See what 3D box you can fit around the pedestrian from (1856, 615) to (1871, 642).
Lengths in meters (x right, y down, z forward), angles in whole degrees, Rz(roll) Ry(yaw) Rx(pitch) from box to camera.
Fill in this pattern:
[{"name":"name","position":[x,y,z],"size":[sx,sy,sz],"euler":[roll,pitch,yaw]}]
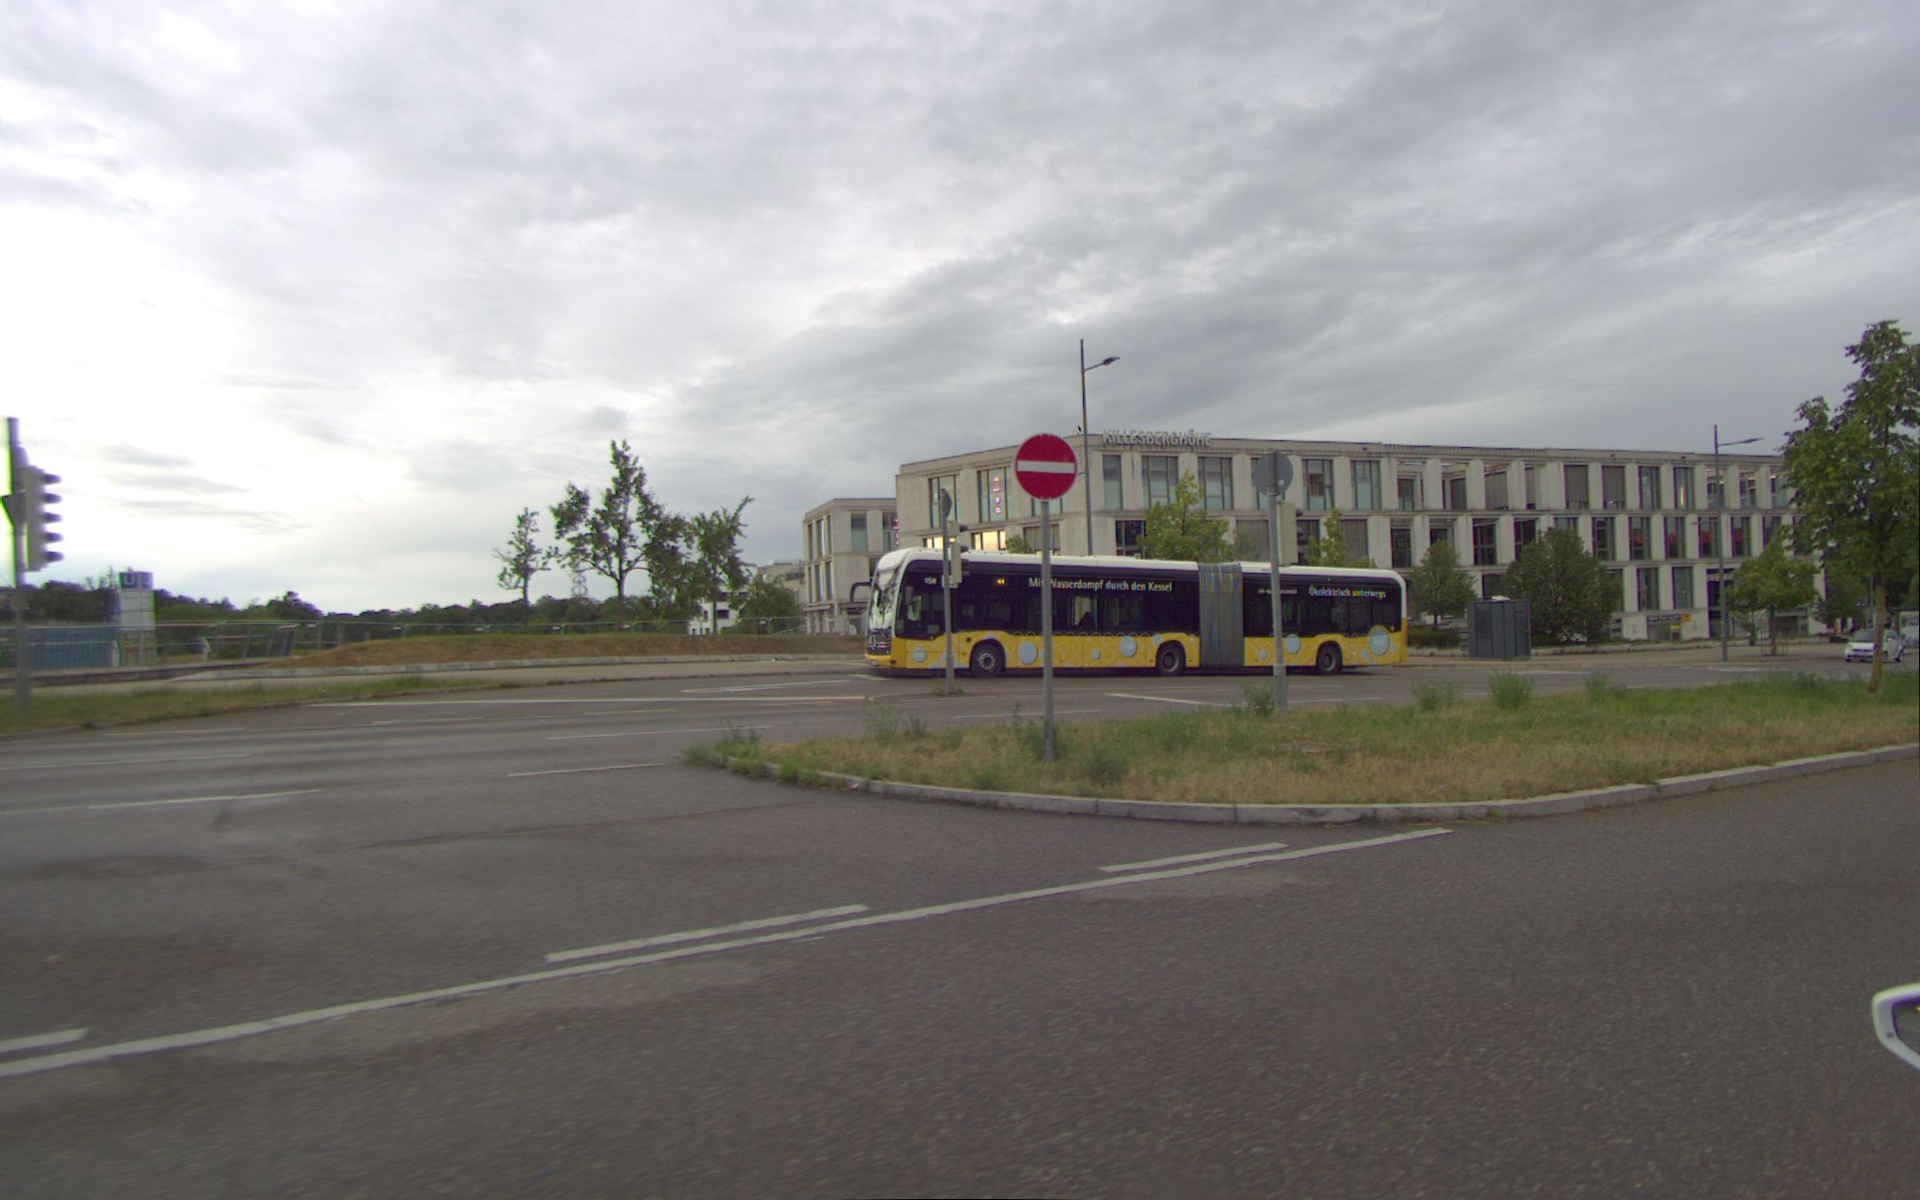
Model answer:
[{"name":"pedestrian","position":[60.702,1.914,67.477],"size":[0.559,1.748,0.522],"euler":[0,-1,-28]}]

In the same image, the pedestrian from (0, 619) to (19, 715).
[{"name":"pedestrian","position":[-16.724,1.156,17.127],"size":[0.806,1.615,0.673],"euler":[-2,0,21]}]

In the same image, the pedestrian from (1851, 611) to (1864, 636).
[{"name":"pedestrian","position":[61.844,1.617,69.209],"size":[0.613,1.748,0.424],"euler":[0,-1,-30]}]

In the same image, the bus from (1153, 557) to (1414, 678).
[{"name":"bus","position":[10.416,0.594,32.182],"size":[8.114,3.518,2.815],"euler":[1,-1,-23]}]

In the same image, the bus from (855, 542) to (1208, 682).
[{"name":"bus","position":[2.149,0.413,28.623],"size":[9.832,3.518,2.815],"euler":[1,-1,-23]}]

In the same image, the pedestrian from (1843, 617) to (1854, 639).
[{"name":"pedestrian","position":[60.898,1.923,68.848],"size":[0.504,1.470,0.424],"euler":[0,-1,-30]}]

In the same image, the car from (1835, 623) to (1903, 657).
[{"name":"car","position":[43.897,1.903,48.505],"size":[2.937,1.528,1.606],"euler":[0,-1,-30]}]
